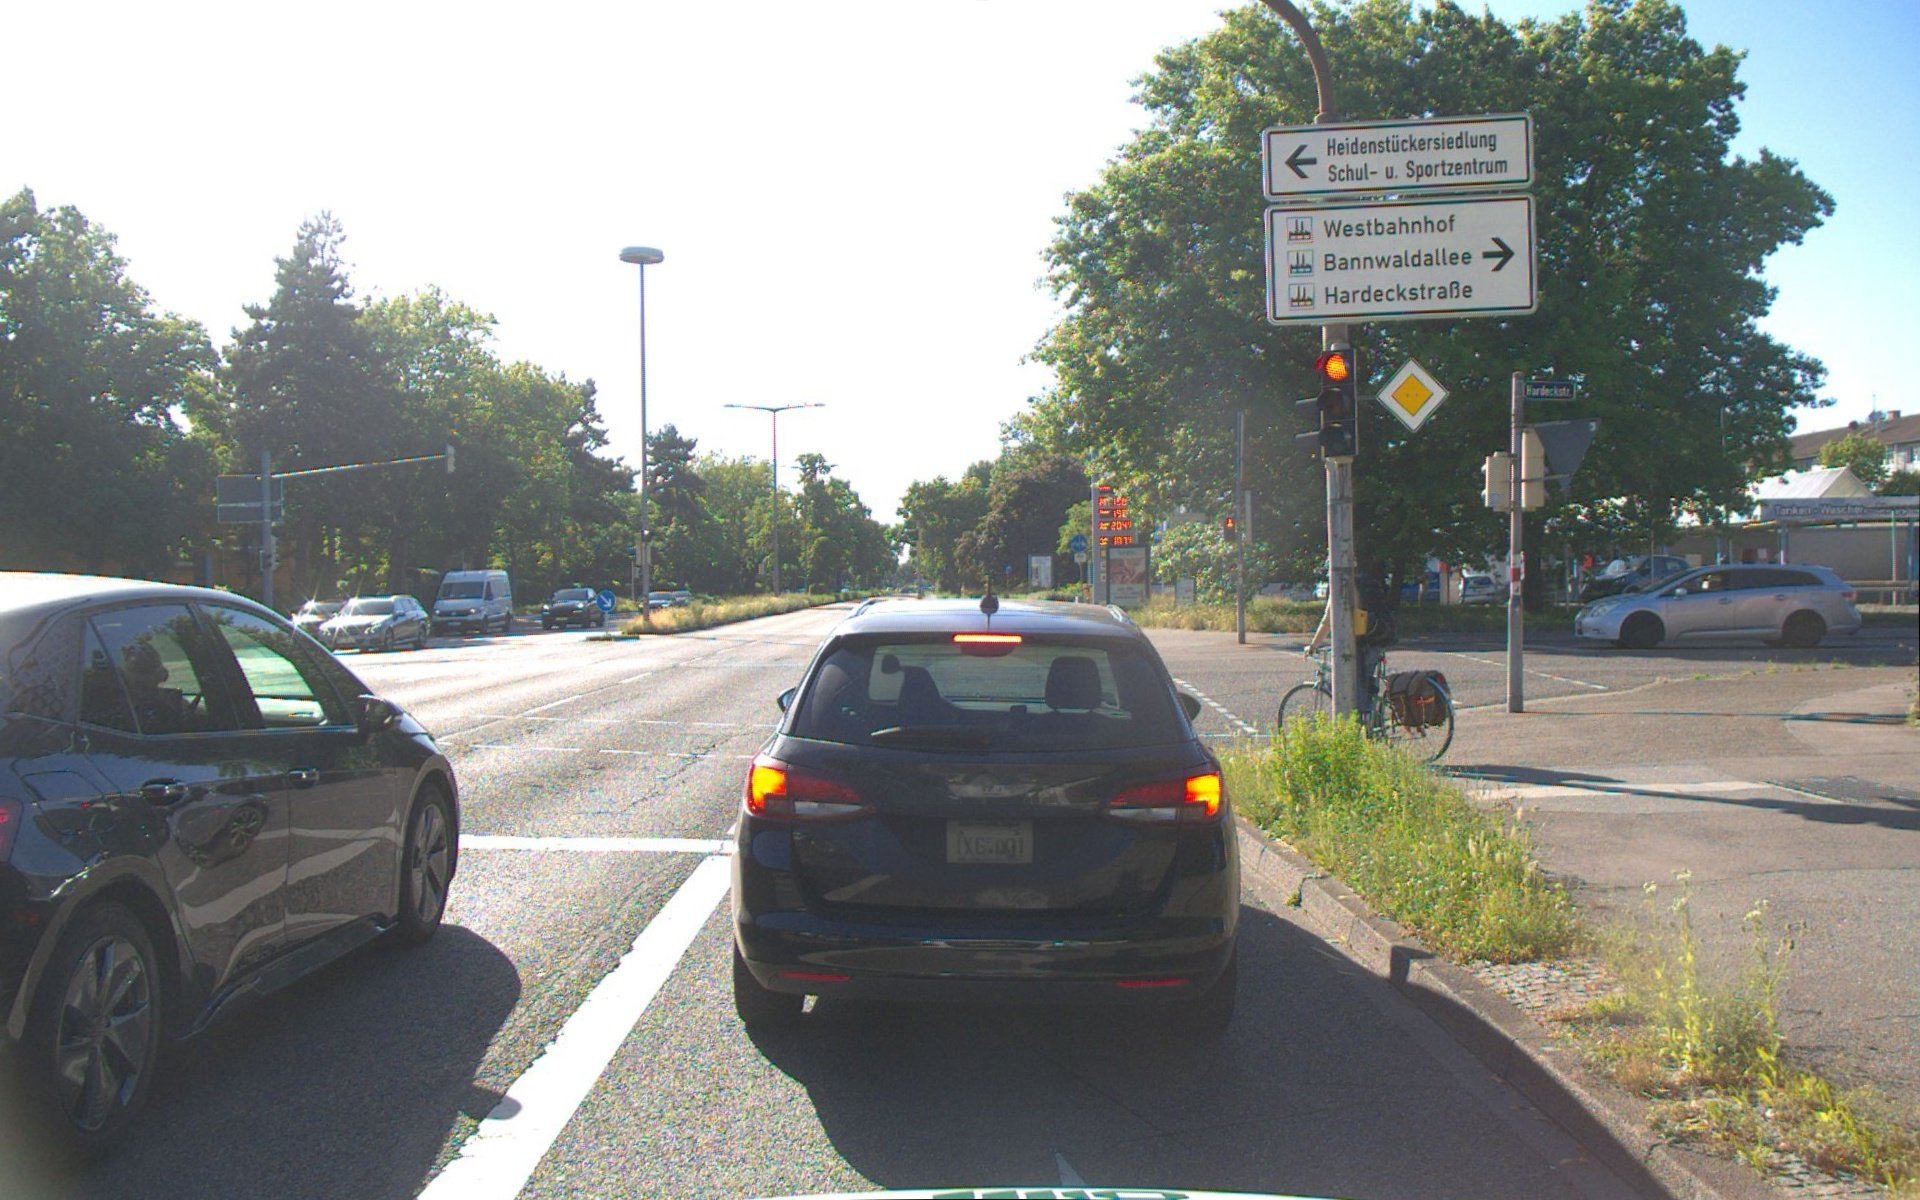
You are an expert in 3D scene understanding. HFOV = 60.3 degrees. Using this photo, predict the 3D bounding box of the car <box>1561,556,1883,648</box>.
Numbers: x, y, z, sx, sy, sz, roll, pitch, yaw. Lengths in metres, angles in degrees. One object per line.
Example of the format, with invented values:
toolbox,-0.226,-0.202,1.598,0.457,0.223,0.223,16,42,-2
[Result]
car,13.543,0.029,29.715,4.897,1.512,2.002,-1,0,11

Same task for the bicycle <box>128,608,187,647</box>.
bicycle,-26.930,0.896,55.551,0.858,1.233,2.534,-2,0,-4

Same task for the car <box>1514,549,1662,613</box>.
car,18.997,-0.568,50.037,3.935,1.780,1.985,-2,1,-24

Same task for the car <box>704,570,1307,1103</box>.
car,0.106,0.685,6.849,1.721,1.521,4.206,0,0,-1

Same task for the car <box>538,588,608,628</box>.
car,-16.527,0.313,70.905,1.953,1.629,4.615,-1,0,-1

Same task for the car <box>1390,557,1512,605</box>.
car,16.915,-0.655,56.996,3.837,1.544,1.732,-2,0,-24

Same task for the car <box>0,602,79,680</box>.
car,-19.196,0.808,32.428,1.607,1.481,4.221,-1,0,-1

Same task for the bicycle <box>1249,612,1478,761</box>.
bicycle,3.230,0.700,13.383,0.533,1.117,1.748,-2,-2,-44

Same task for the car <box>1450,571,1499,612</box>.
car,22.370,-0.399,72.007,1.702,1.709,4.004,-1,0,13

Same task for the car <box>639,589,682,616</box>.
car,-17.041,0.133,94.208,1.740,1.488,4.164,-1,0,-1

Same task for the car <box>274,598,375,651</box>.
car,-19.991,0.749,52.216,1.652,1.535,4.003,-1,0,-1

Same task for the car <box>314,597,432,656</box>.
car,-16.089,0.688,45.569,1.652,1.458,4.614,-1,0,-1

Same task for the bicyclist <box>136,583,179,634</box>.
bicyclist,-26.939,0.267,55.548,0.858,1.677,1.199,-2,0,-3

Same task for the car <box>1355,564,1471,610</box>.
car,16.439,-0.468,60.071,3.837,1.544,1.732,-2,0,-24

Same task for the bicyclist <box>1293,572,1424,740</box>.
bicyclist,3.223,0.454,13.384,0.534,1.299,0.816,-2,-2,-44

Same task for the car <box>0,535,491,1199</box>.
car,-2.995,0.659,5.617,1.650,1.608,4.206,0,0,-1

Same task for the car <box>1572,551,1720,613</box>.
car,19.995,-0.537,48.207,3.934,1.709,1.732,-2,0,-24

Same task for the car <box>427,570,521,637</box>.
car,-19.601,0.104,67.007,2.057,2.536,6.003,-1,0,-1
